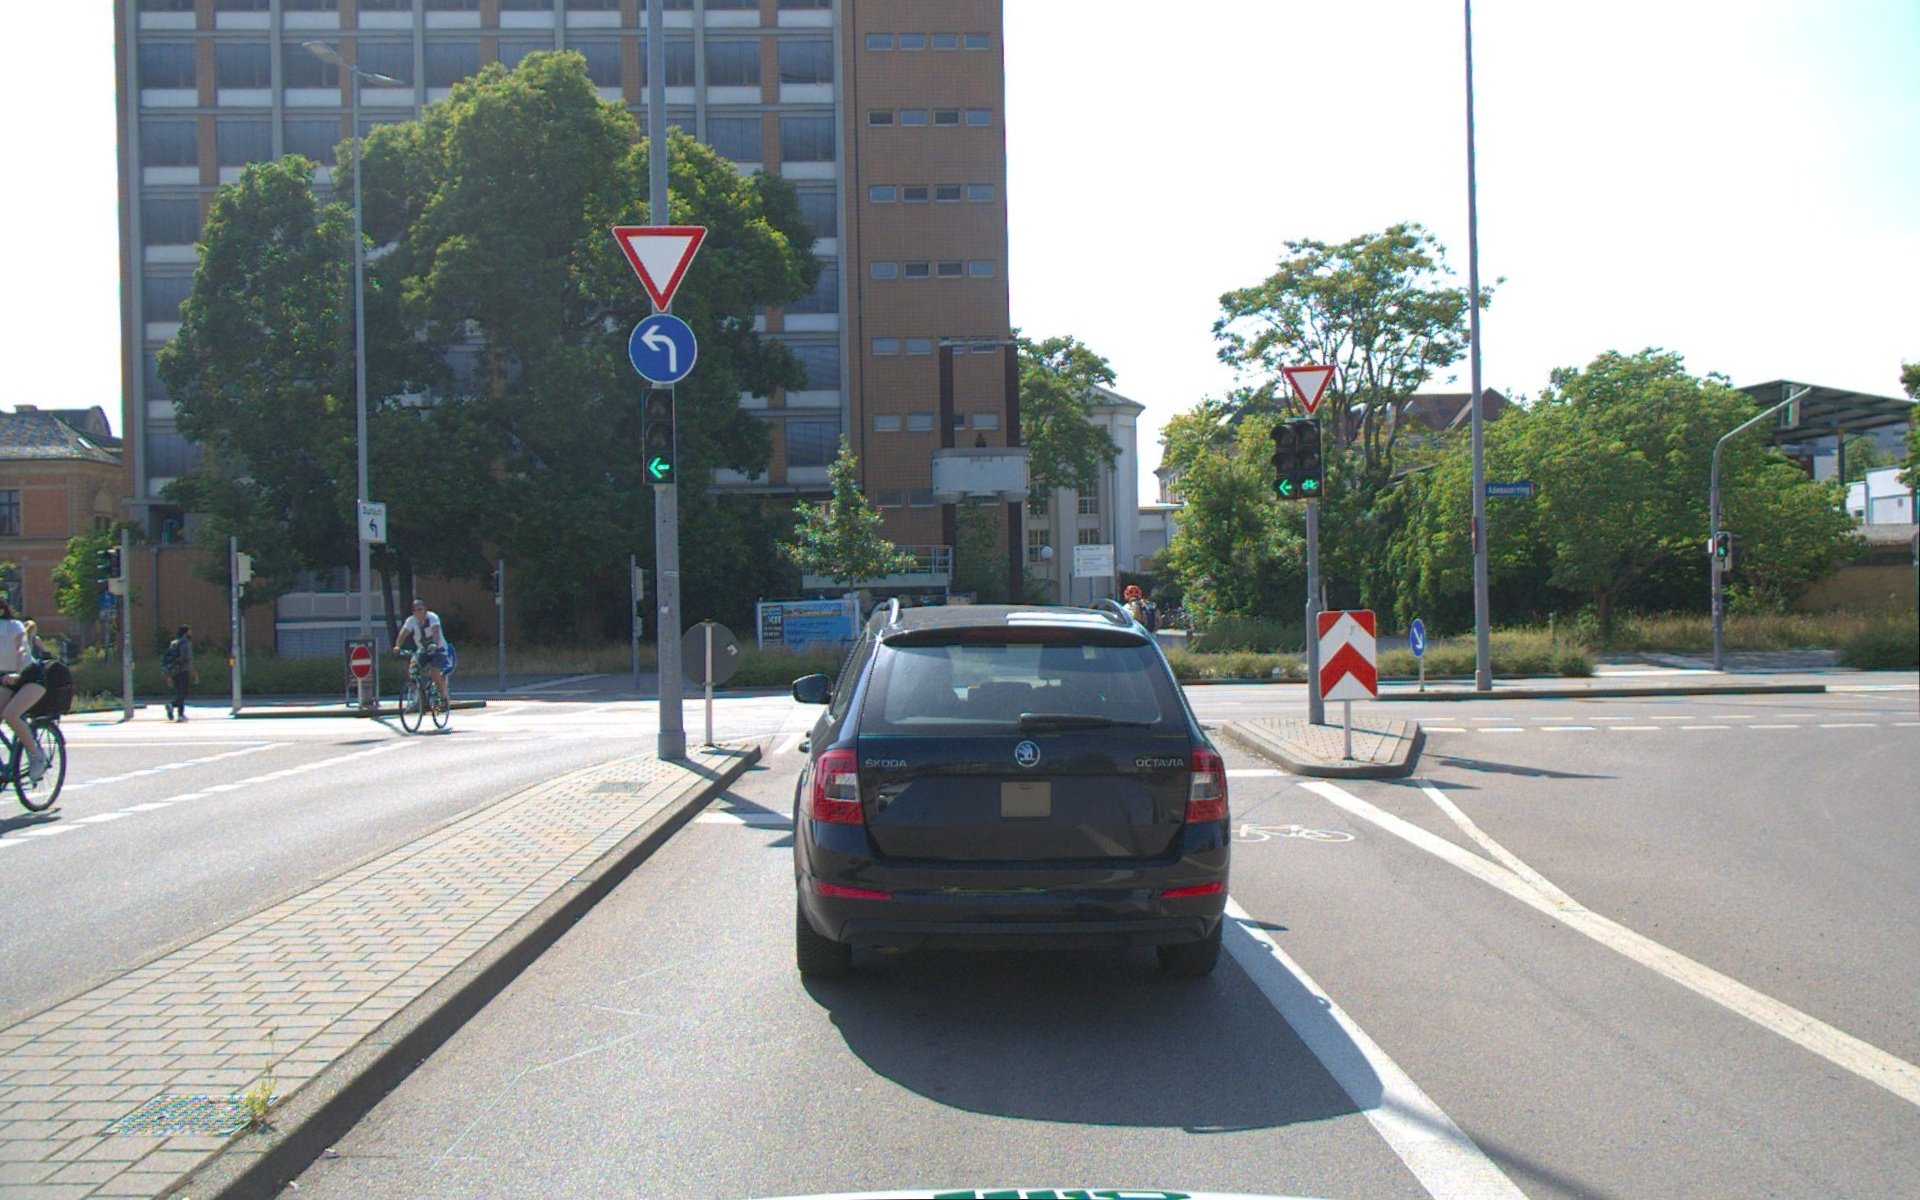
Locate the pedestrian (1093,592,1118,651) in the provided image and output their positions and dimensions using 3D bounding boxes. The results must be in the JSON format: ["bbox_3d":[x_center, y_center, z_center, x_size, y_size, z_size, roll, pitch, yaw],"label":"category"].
[{"bbox_3d":[4.752,0.697,54.096,0.584,1.907,0.639,-2,-1,22],"label":"pedestrian"}]

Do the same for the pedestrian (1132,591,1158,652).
[{"bbox_3d":[5.918,0.680,52.990,0.624,1.907,0.796,-3,0,-1],"label":"pedestrian"}]

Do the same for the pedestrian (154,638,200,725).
[{"bbox_3d":[-14.057,1.450,29.698,0.621,1.518,0.614,-2,0,-17],"label":"pedestrian"}]

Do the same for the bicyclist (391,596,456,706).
[{"bbox_3d":[-7.291,0.684,22.516,0.528,1.441,1.029,-2,-1,-3],"label":"bicyclist"}]

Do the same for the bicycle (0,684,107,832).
[{"bbox_3d":[-7.271,1.196,12.619,0.606,0.977,1.965,-4,0,-5],"label":"bicycle"}]

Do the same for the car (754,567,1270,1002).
[{"bbox_3d":[0.168,0.630,7.514,1.743,1.468,3.817,0,0,0],"label":"car"}]

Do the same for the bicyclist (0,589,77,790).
[{"bbox_3d":[-7.304,0.677,12.621,0.606,1.468,0.919,-4,0,-6],"label":"bicyclist"}]

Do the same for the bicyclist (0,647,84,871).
[{"bbox_3d":[-7.271,1.196,12.619,0.606,1.609,1.012,-4,0,-6],"label":"bicyclist"}]

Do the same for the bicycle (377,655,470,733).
[{"bbox_3d":[-7.337,1.269,22.705,0.690,0.994,2.029,-2,-2,-3],"label":"bicycle"}]

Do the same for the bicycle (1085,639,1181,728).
[{"bbox_3d":[2.077,0.990,20.102,0.585,0.947,2.023,0,1,-11],"label":"bicycle"}]

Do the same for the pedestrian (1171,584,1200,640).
[{"bbox_3d":[7.839,0.425,57.577,0.777,1.907,0.639,-3,0,21],"label":"pedestrian"}]

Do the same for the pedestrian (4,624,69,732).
[{"bbox_3d":[-15.859,1.341,28.421,0.724,1.783,1.105,-2,-2,-17],"label":"pedestrian"}]

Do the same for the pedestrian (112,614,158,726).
[{"bbox_3d":[-15.242,1.281,30.540,0.610,2.049,0.678,2,-2,-38],"label":"pedestrian"}]

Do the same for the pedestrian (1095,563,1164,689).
[{"bbox_3d":[2.055,0.314,20.145,0.572,1.492,1.011,0,-1,-11],"label":"pedestrian"}]
